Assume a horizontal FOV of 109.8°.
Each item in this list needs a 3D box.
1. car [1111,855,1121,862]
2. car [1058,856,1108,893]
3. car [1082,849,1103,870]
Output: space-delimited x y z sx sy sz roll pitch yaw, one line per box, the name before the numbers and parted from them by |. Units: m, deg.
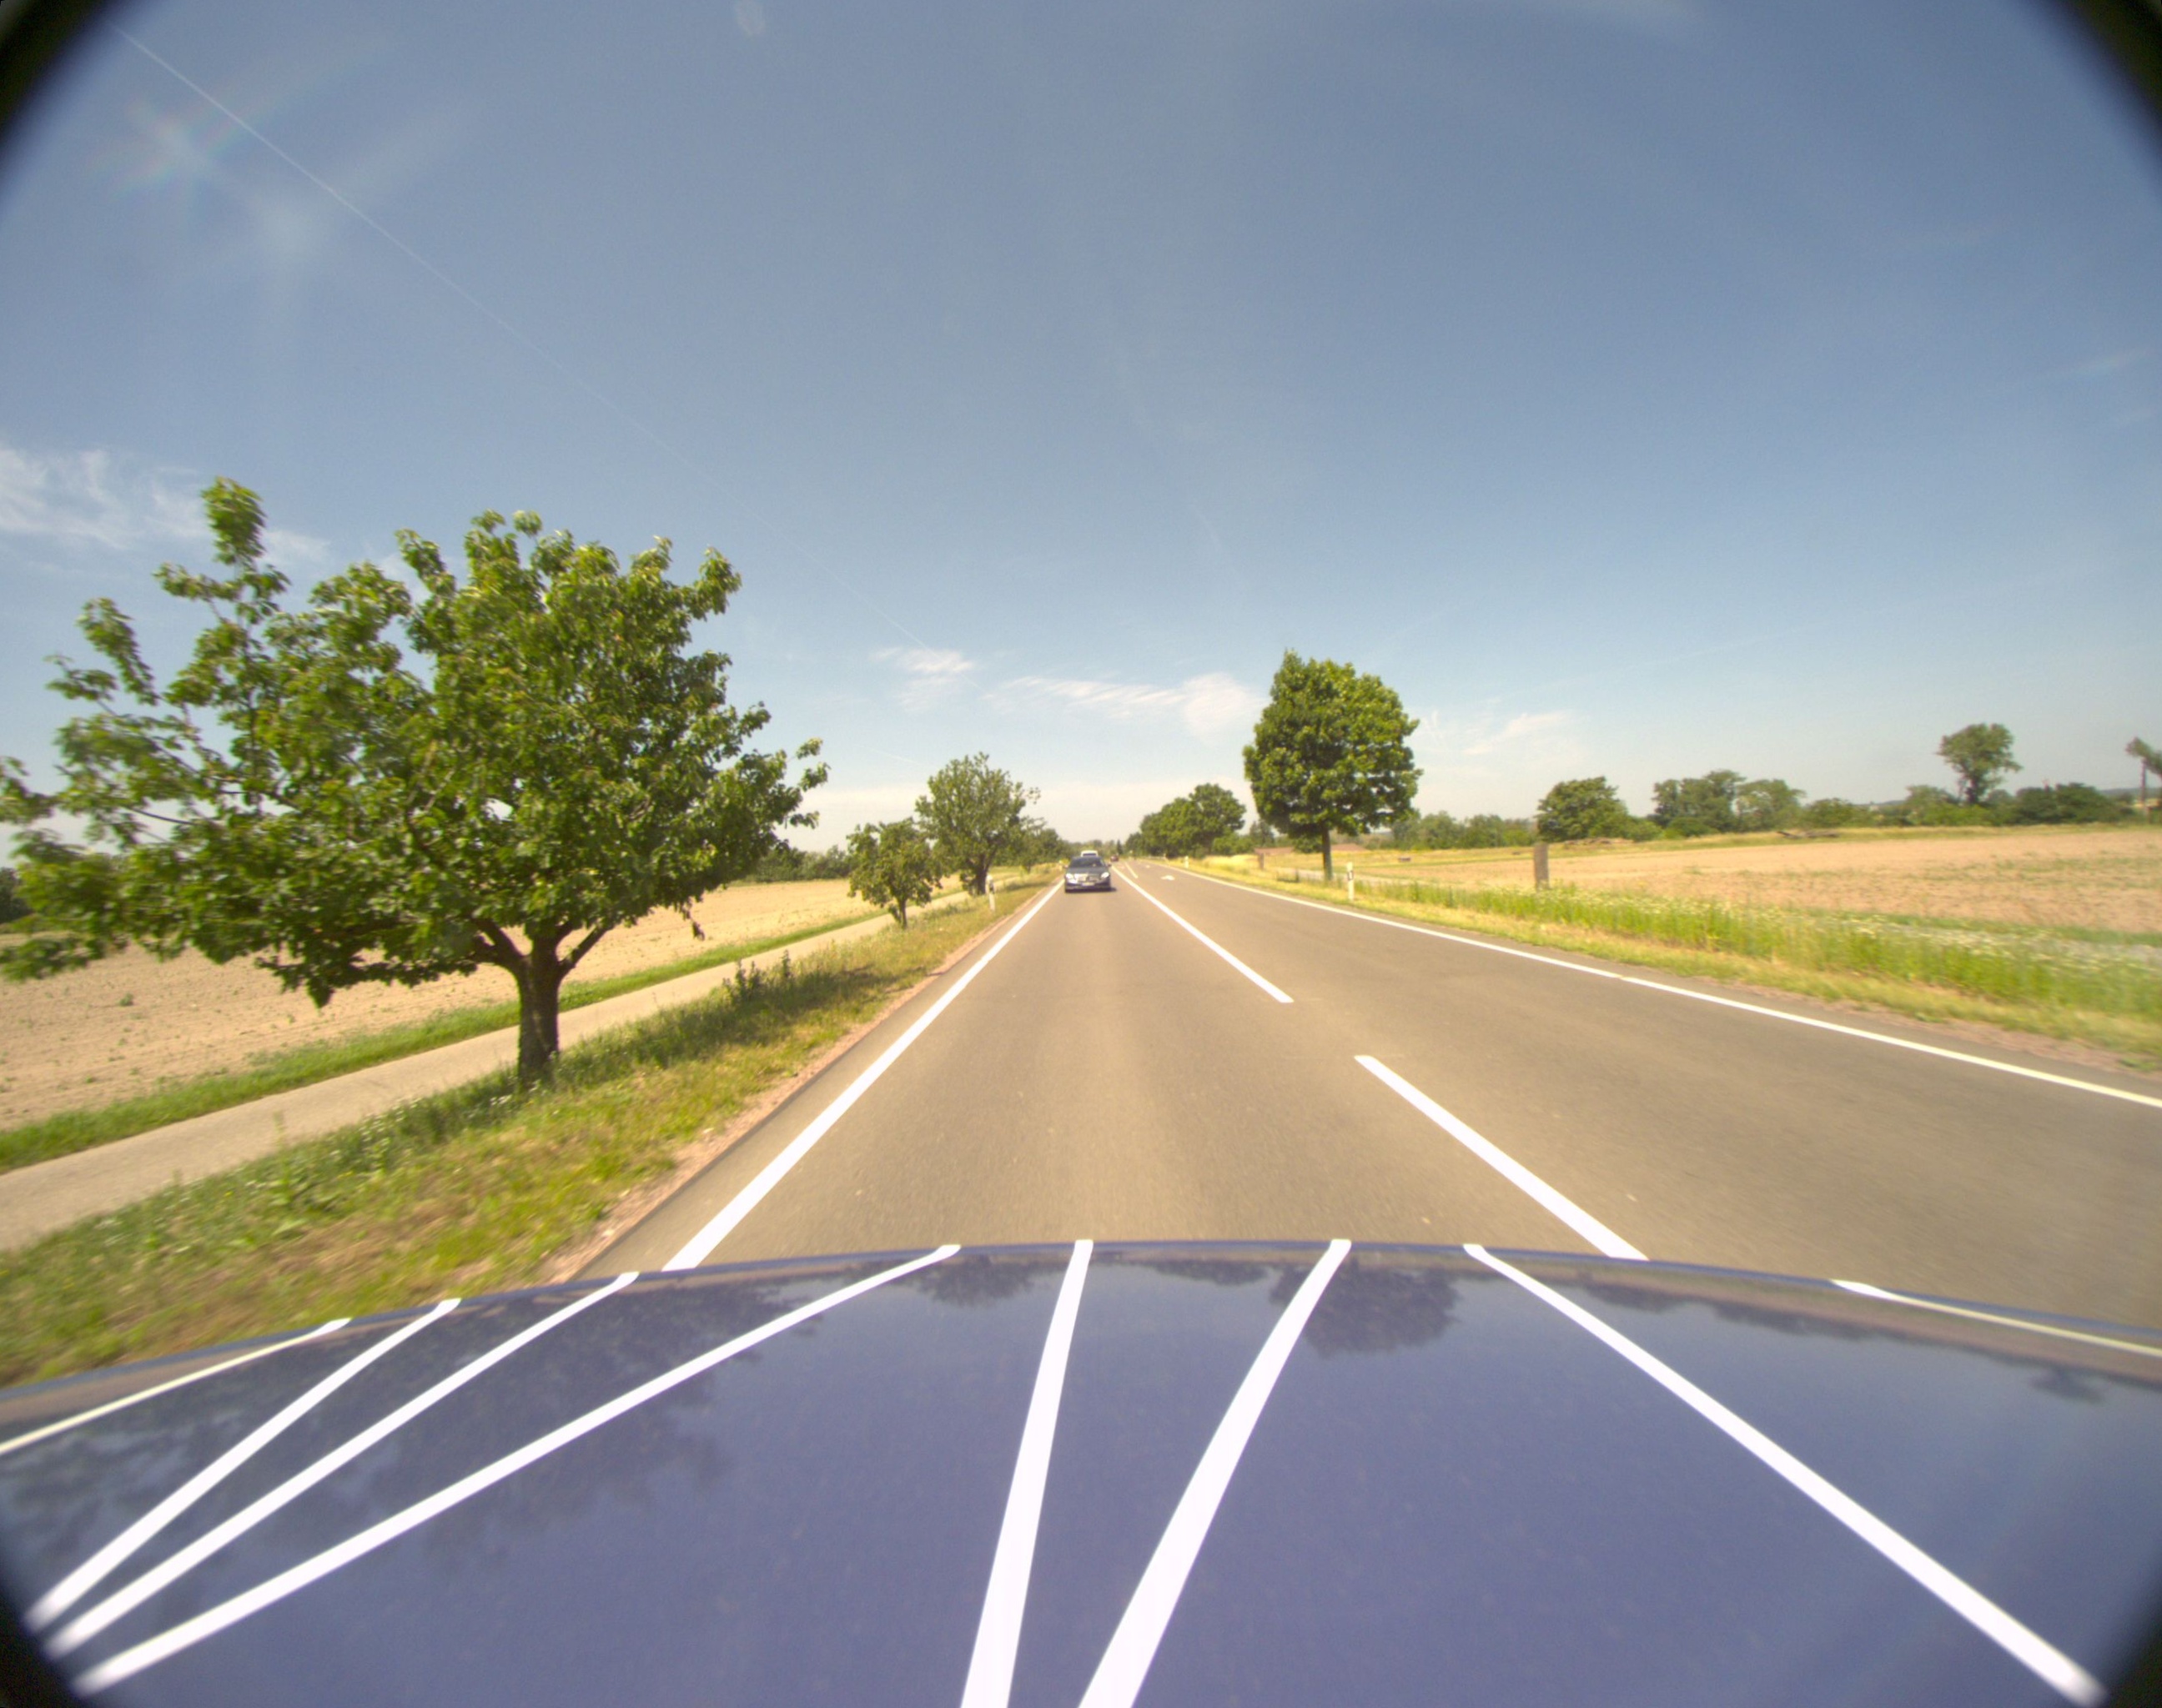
car | 7.632 0.982 167.786 1.998 1.543 4.316 -3 0 1
car | 0.138 0.818 31.932 1.953 1.391 4.000 -1 0 2
car | 1.160 0.505 76.596 1.998 1.907 4.206 -3 0 1
